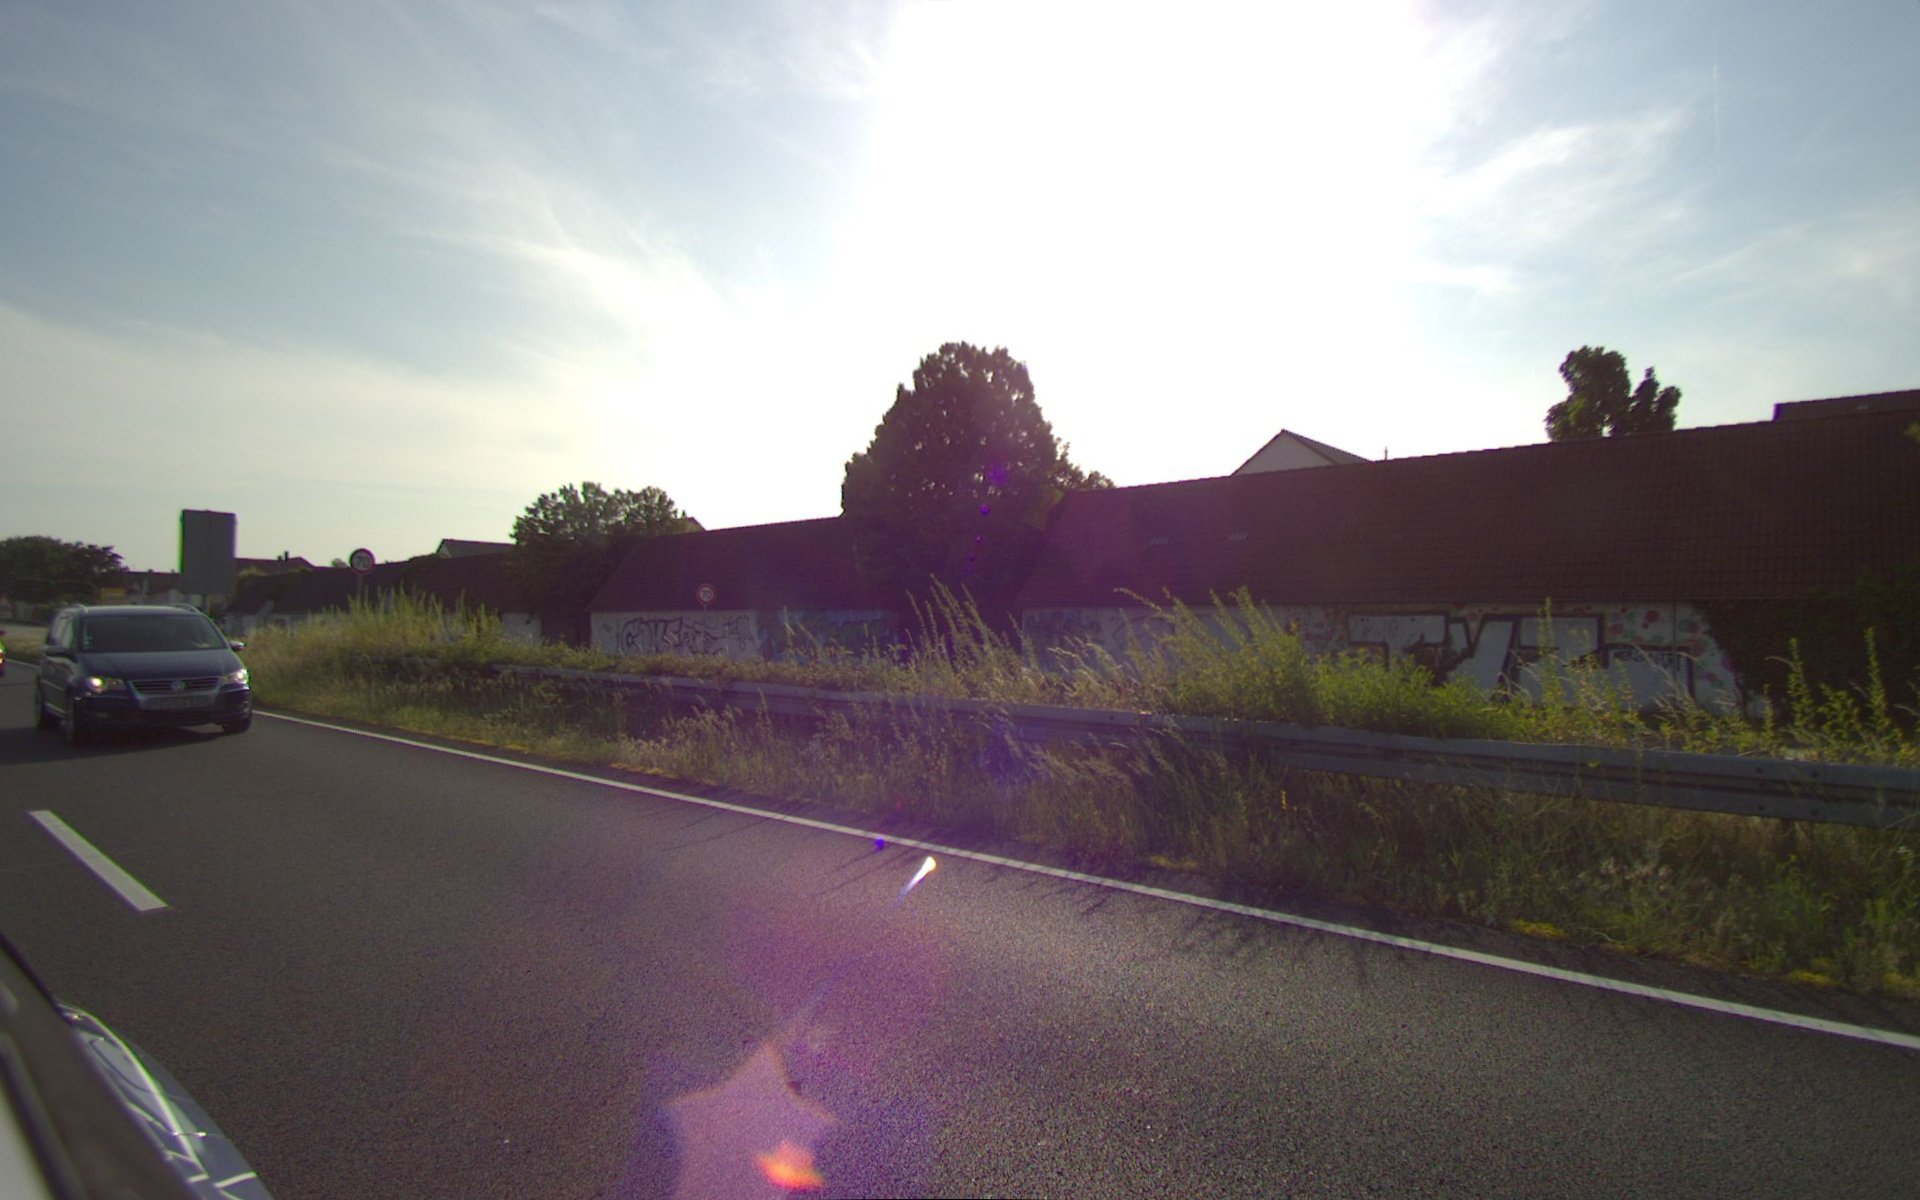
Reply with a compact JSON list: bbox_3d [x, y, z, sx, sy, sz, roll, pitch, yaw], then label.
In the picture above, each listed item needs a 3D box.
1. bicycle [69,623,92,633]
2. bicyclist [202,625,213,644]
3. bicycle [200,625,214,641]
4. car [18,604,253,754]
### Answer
[{"bbox_3d":[-111.959,3.581,128.899,2.128,1.201,0.905,3,-2,-40],"label":"bicycle"},{"bbox_3d":[-83.987,3.820,112.948,1.062,2.029,0.762,0,0,42],"label":"bicyclist"},{"bbox_3d":[-84.047,3.662,112.969,2.607,1.762,0.745,0,0,42],"label":"bicycle"},{"bbox_3d":[-10.972,0.885,13.333,4.682,1.633,1.753,0,-1,43],"label":"car"}]
